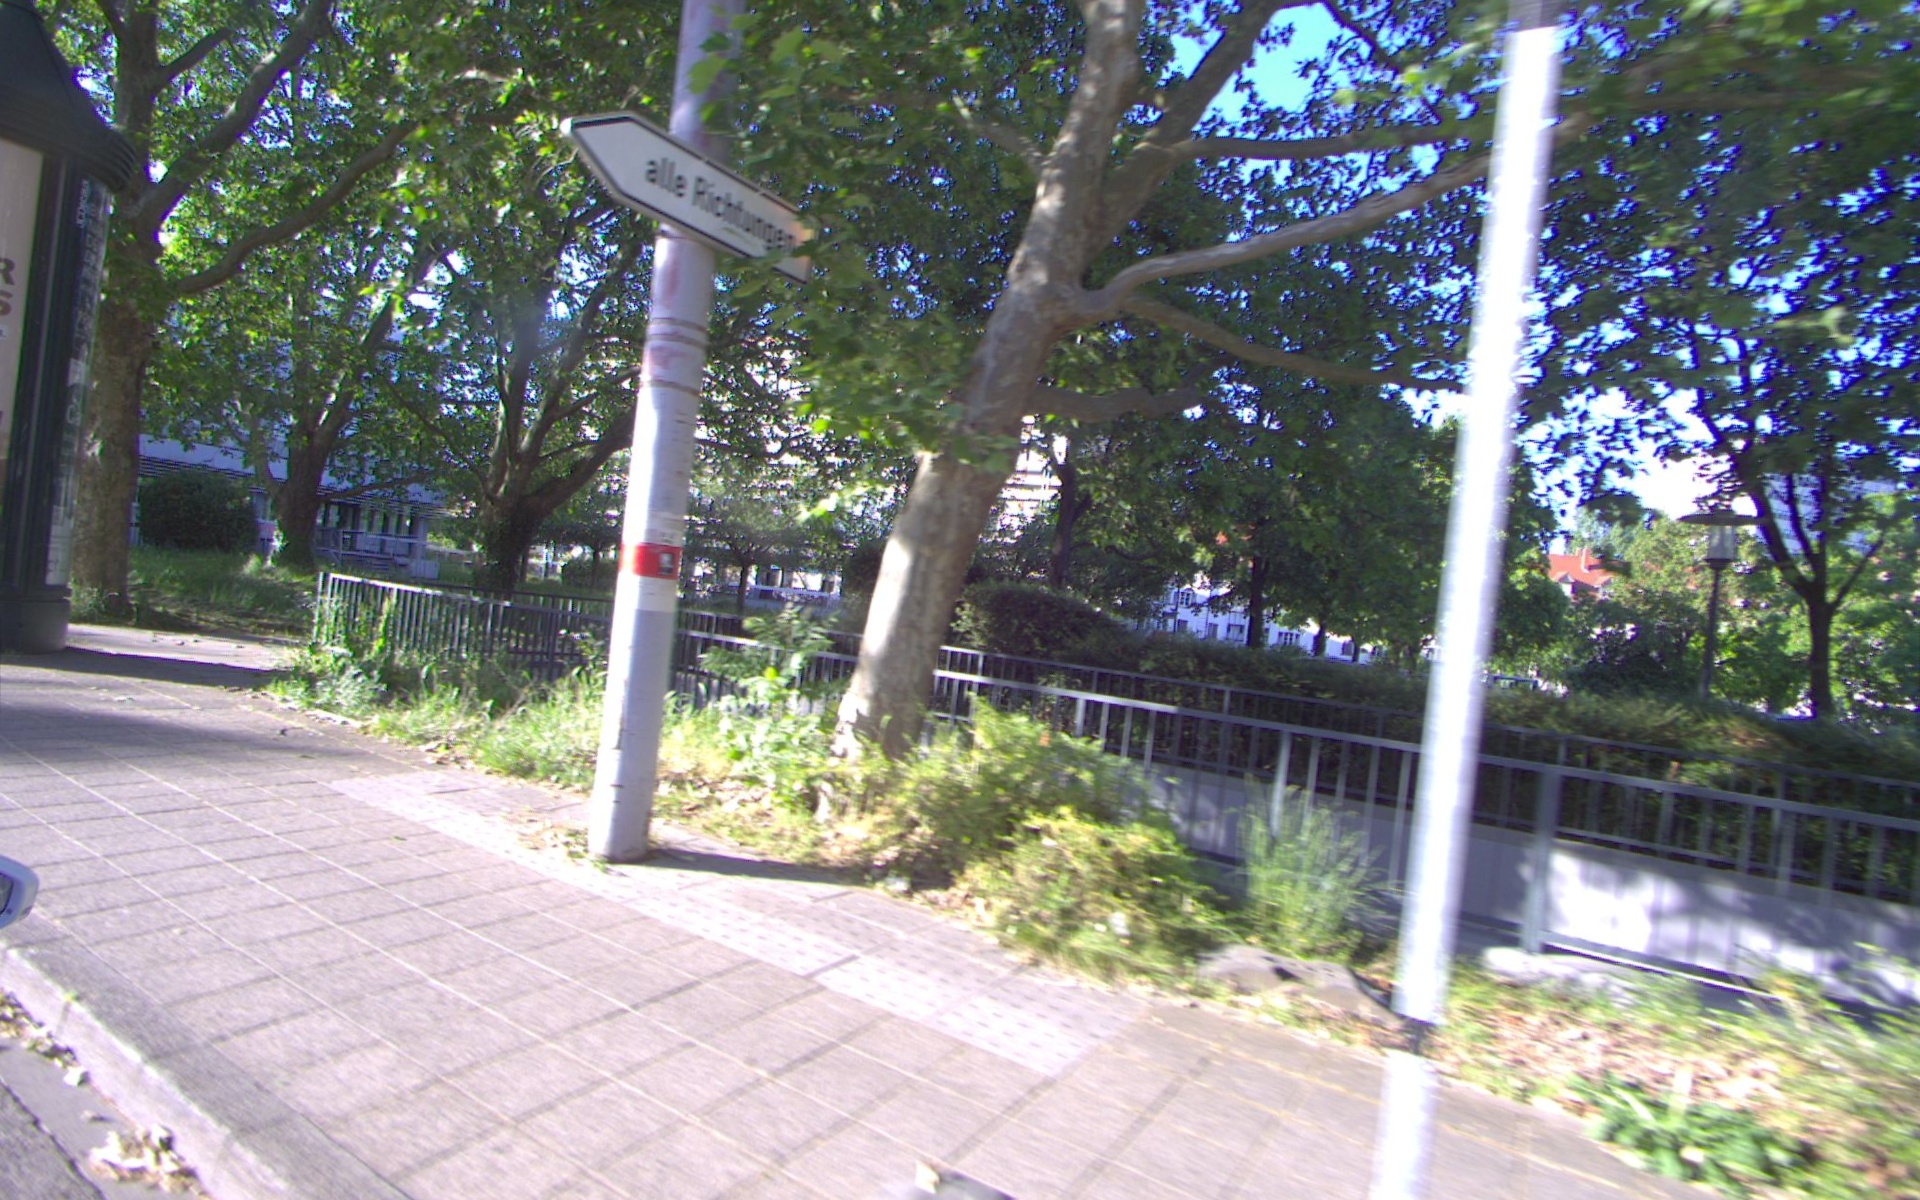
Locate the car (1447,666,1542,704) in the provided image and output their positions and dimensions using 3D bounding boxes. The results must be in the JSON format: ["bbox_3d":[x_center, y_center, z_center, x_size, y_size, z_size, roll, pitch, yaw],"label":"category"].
[{"bbox_3d":[30.785,4.909,58.007,4.581,1.492,2.011,7,-2,32],"label":"car"}]

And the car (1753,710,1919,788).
[{"bbox_3d":[26.446,4.441,30.082,3.934,1.645,1.921,7,-2,32],"label":"car"}]

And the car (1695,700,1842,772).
[{"bbox_3d":[31.243,5.211,39.038,3.930,2.039,1.997,6,0,27],"label":"car"}]
